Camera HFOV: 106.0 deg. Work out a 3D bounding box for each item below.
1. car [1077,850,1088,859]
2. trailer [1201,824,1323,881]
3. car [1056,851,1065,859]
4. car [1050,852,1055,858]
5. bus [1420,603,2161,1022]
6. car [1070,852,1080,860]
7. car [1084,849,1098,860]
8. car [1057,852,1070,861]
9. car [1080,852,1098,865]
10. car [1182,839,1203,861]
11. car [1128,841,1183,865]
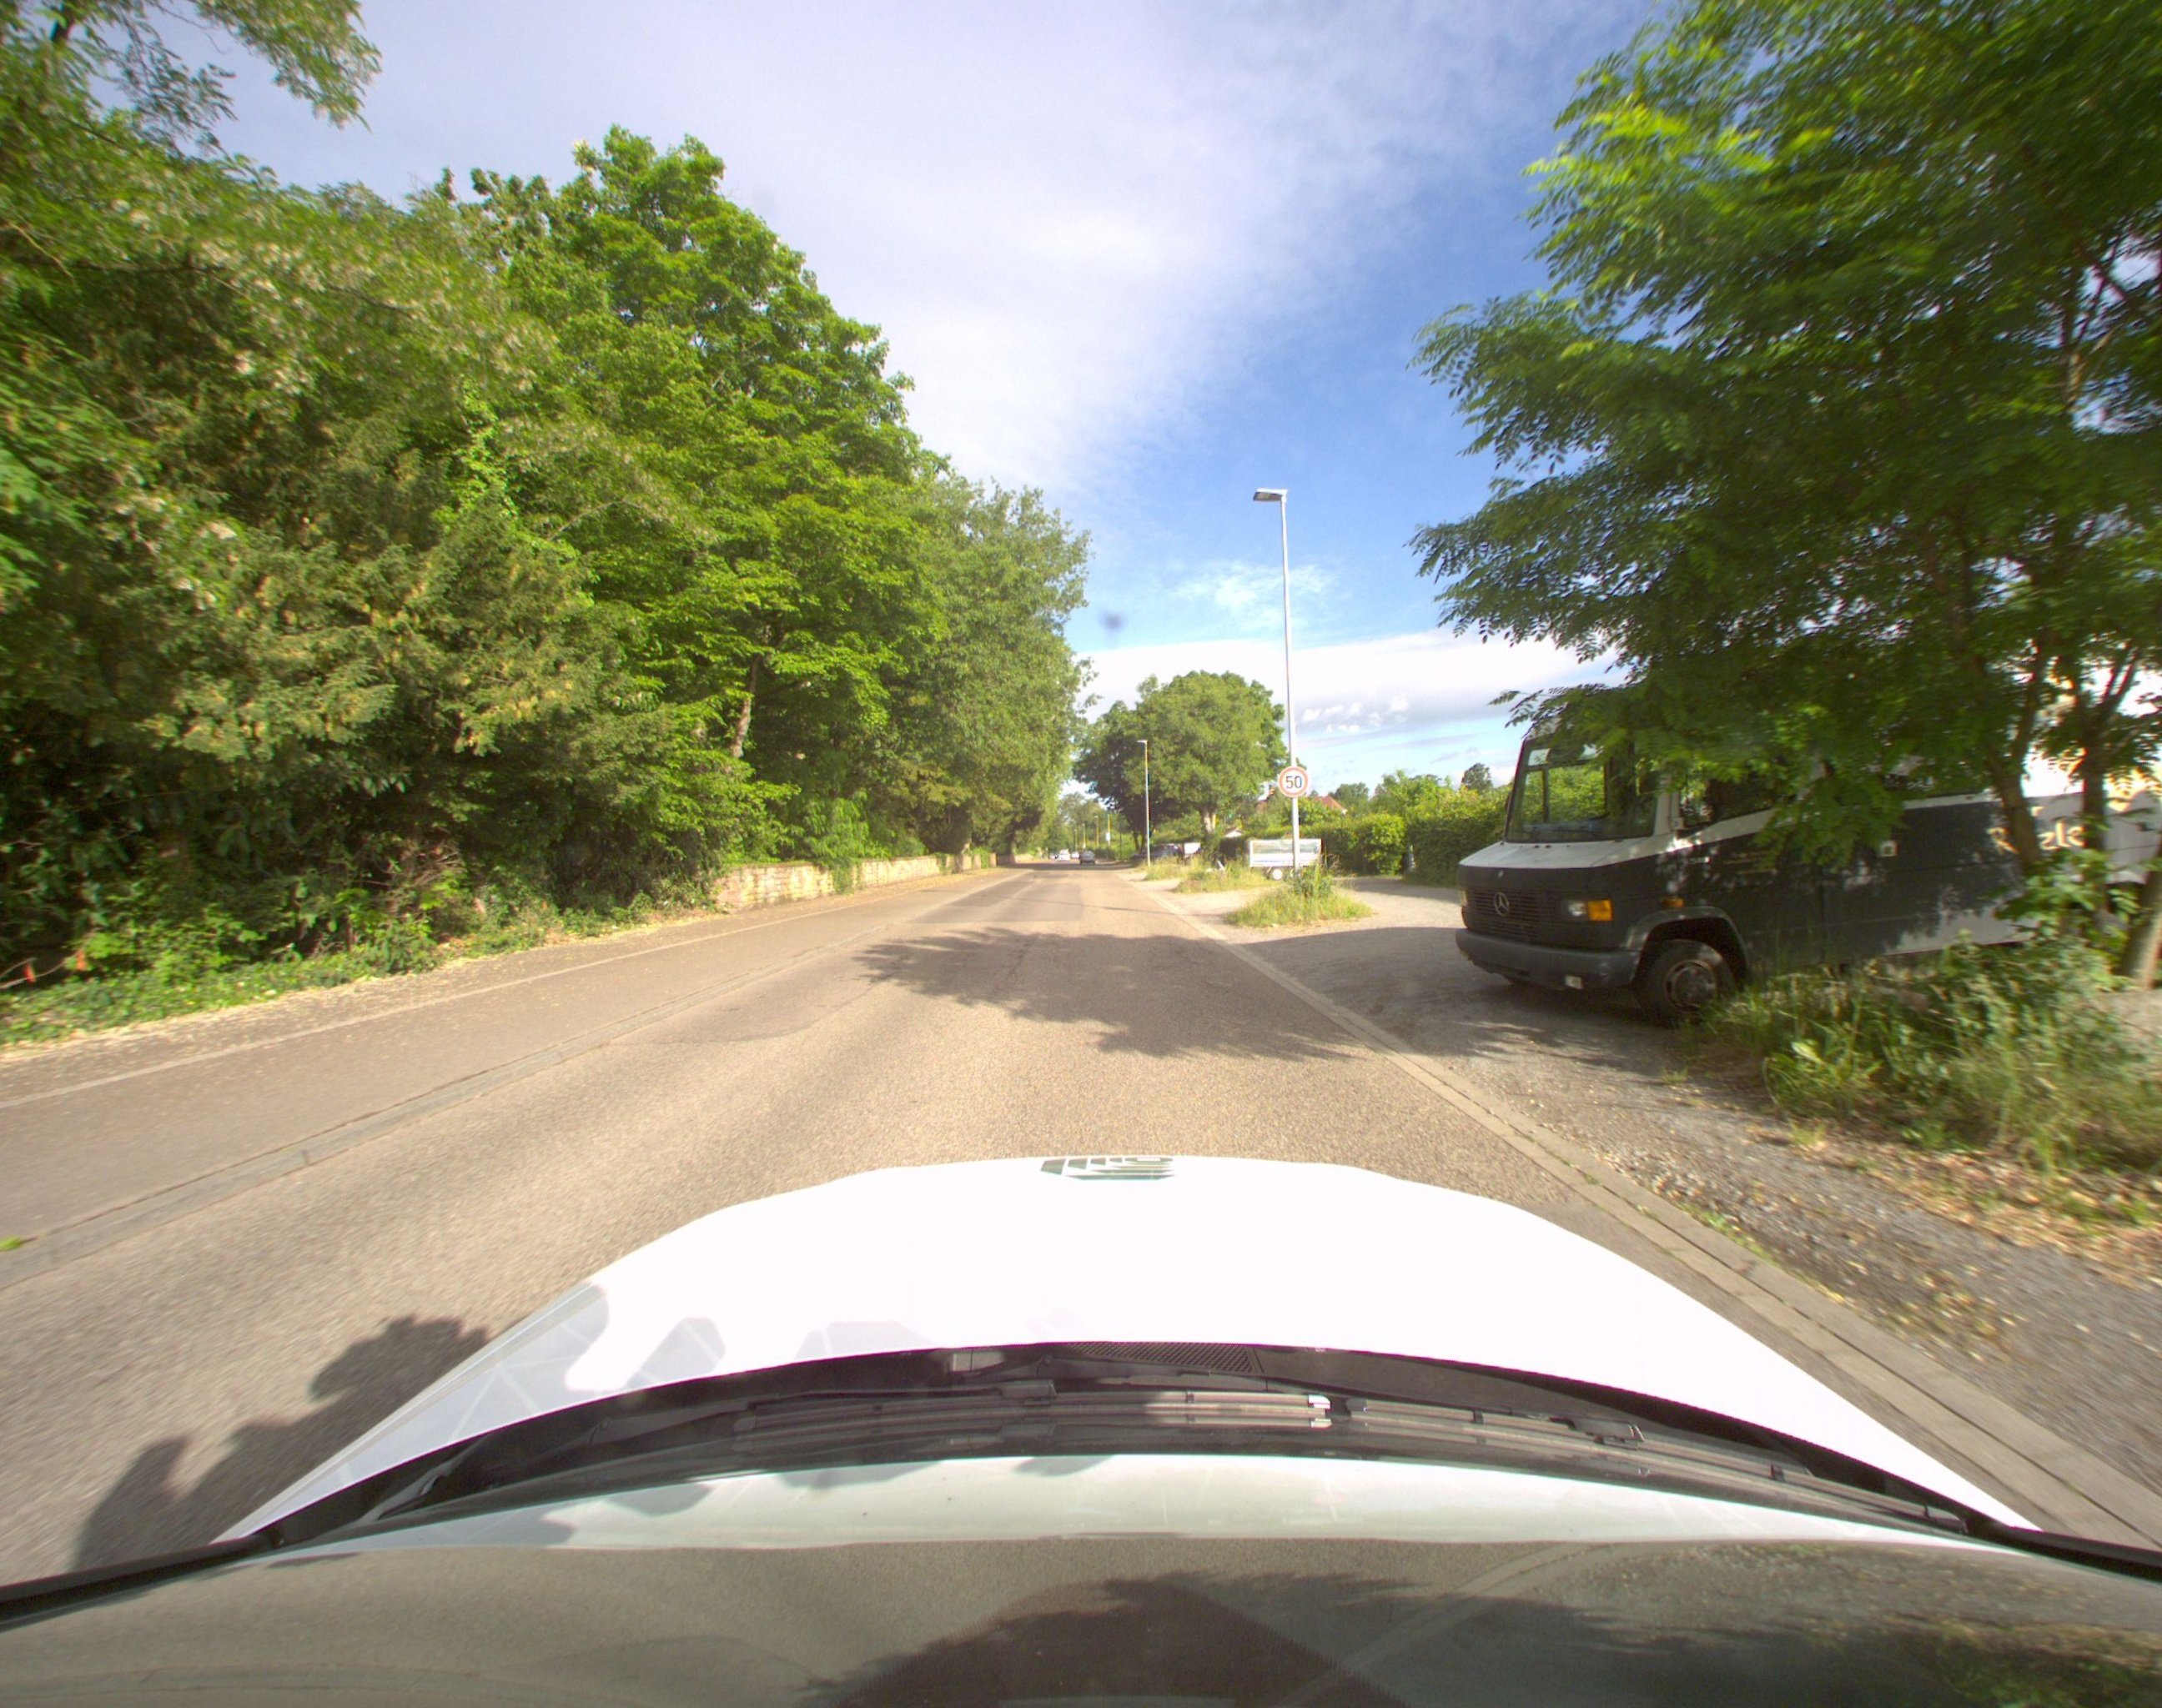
[{"bbox_3d":[0.255,0.075,147.411,1.881,1.613,4.053,-2,0,-1],"label":"car"},{"bbox_3d":[6.639,-0.042,30.219,4.134,1.835,1.918,-3,0,3],"label":"trailer"},{"bbox_3d":[-4.768,0.219,189.960,1.881,1.613,4.053,-2,0,-1],"label":"car"},{"bbox_3d":[-8.229,0.264,235.441,1.573,1.452,3.396,-2,0,-2],"label":"car"},{"bbox_3d":[5.982,-0.365,6.830,5.353,2.746,2.066,-3,1,-4],"label":"bus"},{"bbox_3d":[-1.282,0.333,173.050,1.881,1.613,4.053,-2,0,-1],"label":"car"},{"bbox_3d":[1.510,0.064,120.365,1.881,1.465,4.053,-2,0,-1],"label":"car"},{"bbox_3d":[-2.840,0.428,131.094,1.882,1.372,4.051,-2,0,-2],"label":"car"},{"bbox_3d":[0.860,0.439,91.757,1.881,1.372,4.053,-2,0,-1],"label":"car"},{"bbox_3d":[9.126,-0.353,66.527,1.342,1.632,4.124,-4,0,10],"label":"car"},{"bbox_3d":[6.236,-0.123,68.533,4.389,1.646,2.000,-5,0,0],"label":"car"}]
